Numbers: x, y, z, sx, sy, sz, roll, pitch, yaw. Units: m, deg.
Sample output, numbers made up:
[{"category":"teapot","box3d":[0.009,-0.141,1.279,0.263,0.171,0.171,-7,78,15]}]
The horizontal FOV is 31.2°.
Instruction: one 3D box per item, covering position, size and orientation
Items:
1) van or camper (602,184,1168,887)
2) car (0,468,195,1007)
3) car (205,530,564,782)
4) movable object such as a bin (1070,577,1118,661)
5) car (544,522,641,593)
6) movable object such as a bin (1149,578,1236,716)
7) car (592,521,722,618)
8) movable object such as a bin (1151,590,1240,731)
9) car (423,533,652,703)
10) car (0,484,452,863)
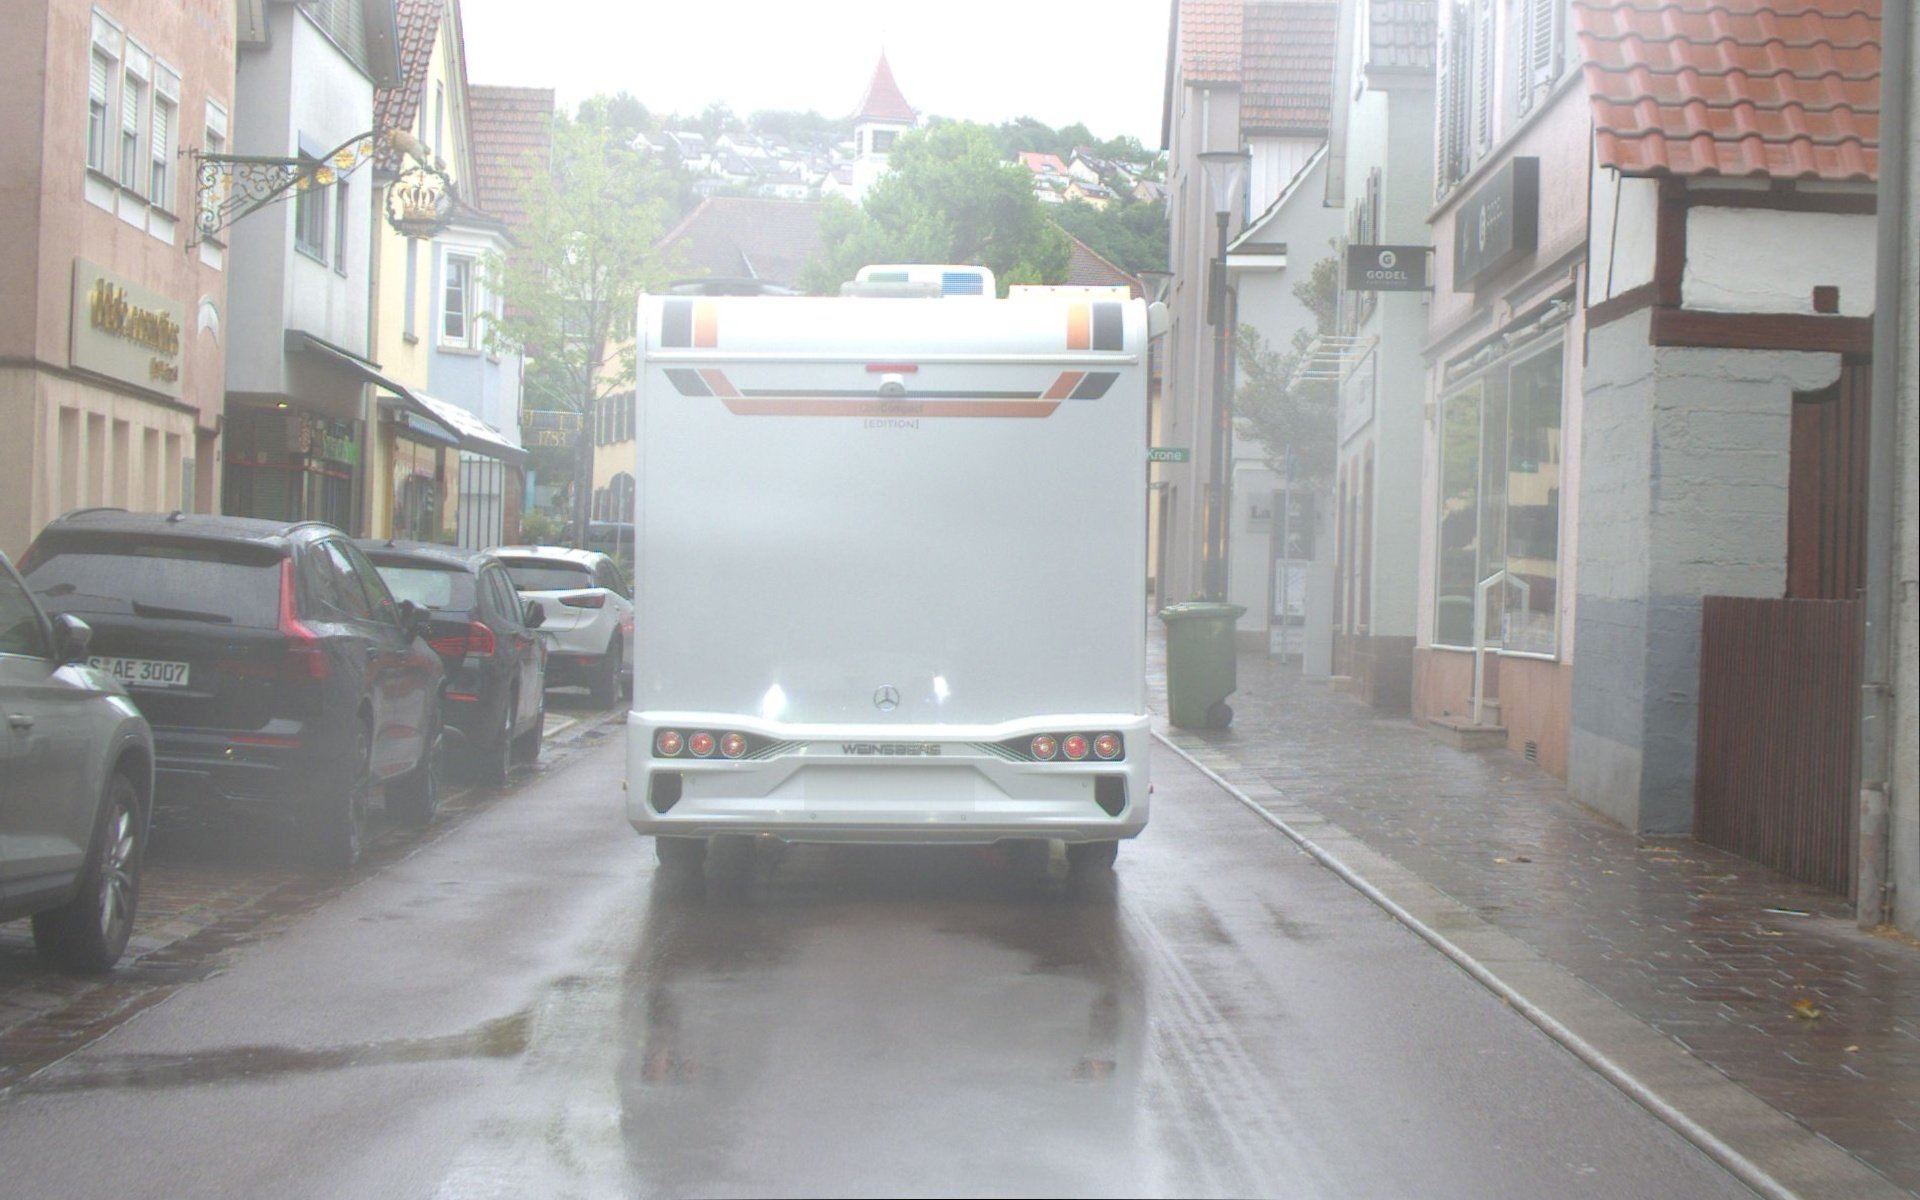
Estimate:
[{"category":"van or camper","box3d":[-0.493,-0.258,17.690,2.325,2.909,6.394,1,0,-3]},{"category":"car","box3d":[-3.836,0.391,10.698,1.771,1.669,4.479,3,0,1]},{"category":"car","box3d":[-3.881,0.361,23.844,1.833,1.546,4.282,1,0,-1]},{"category":"movable object such as a bin","box3d":[2.010,0.286,51.641,0.658,1.234,0.621,1,0,-1]},{"category":"car","box3d":[-10.881,-1.222,101.563,1.993,2.007,4.001,1,0,-19]},{"category":"movable object such as a bin","box3d":[2.057,0.417,30.486,0.718,1.197,0.578,1,0,1]},{"category":"car","box3d":[-5.008,-0.518,56.401,1.993,1.467,4.001,2,1,-6]},{"category":"movable object such as a bin","box3d":[2.043,0.523,29.904,0.718,1.197,0.573,1,0,1]},{"category":"car","box3d":[-4.169,0.176,34.482,1.827,1.561,4.000,1,0,-1]},{"category":"car","box3d":[-3.834,0.334,17.710,1.833,1.669,4.540,1,0,-1]}]
